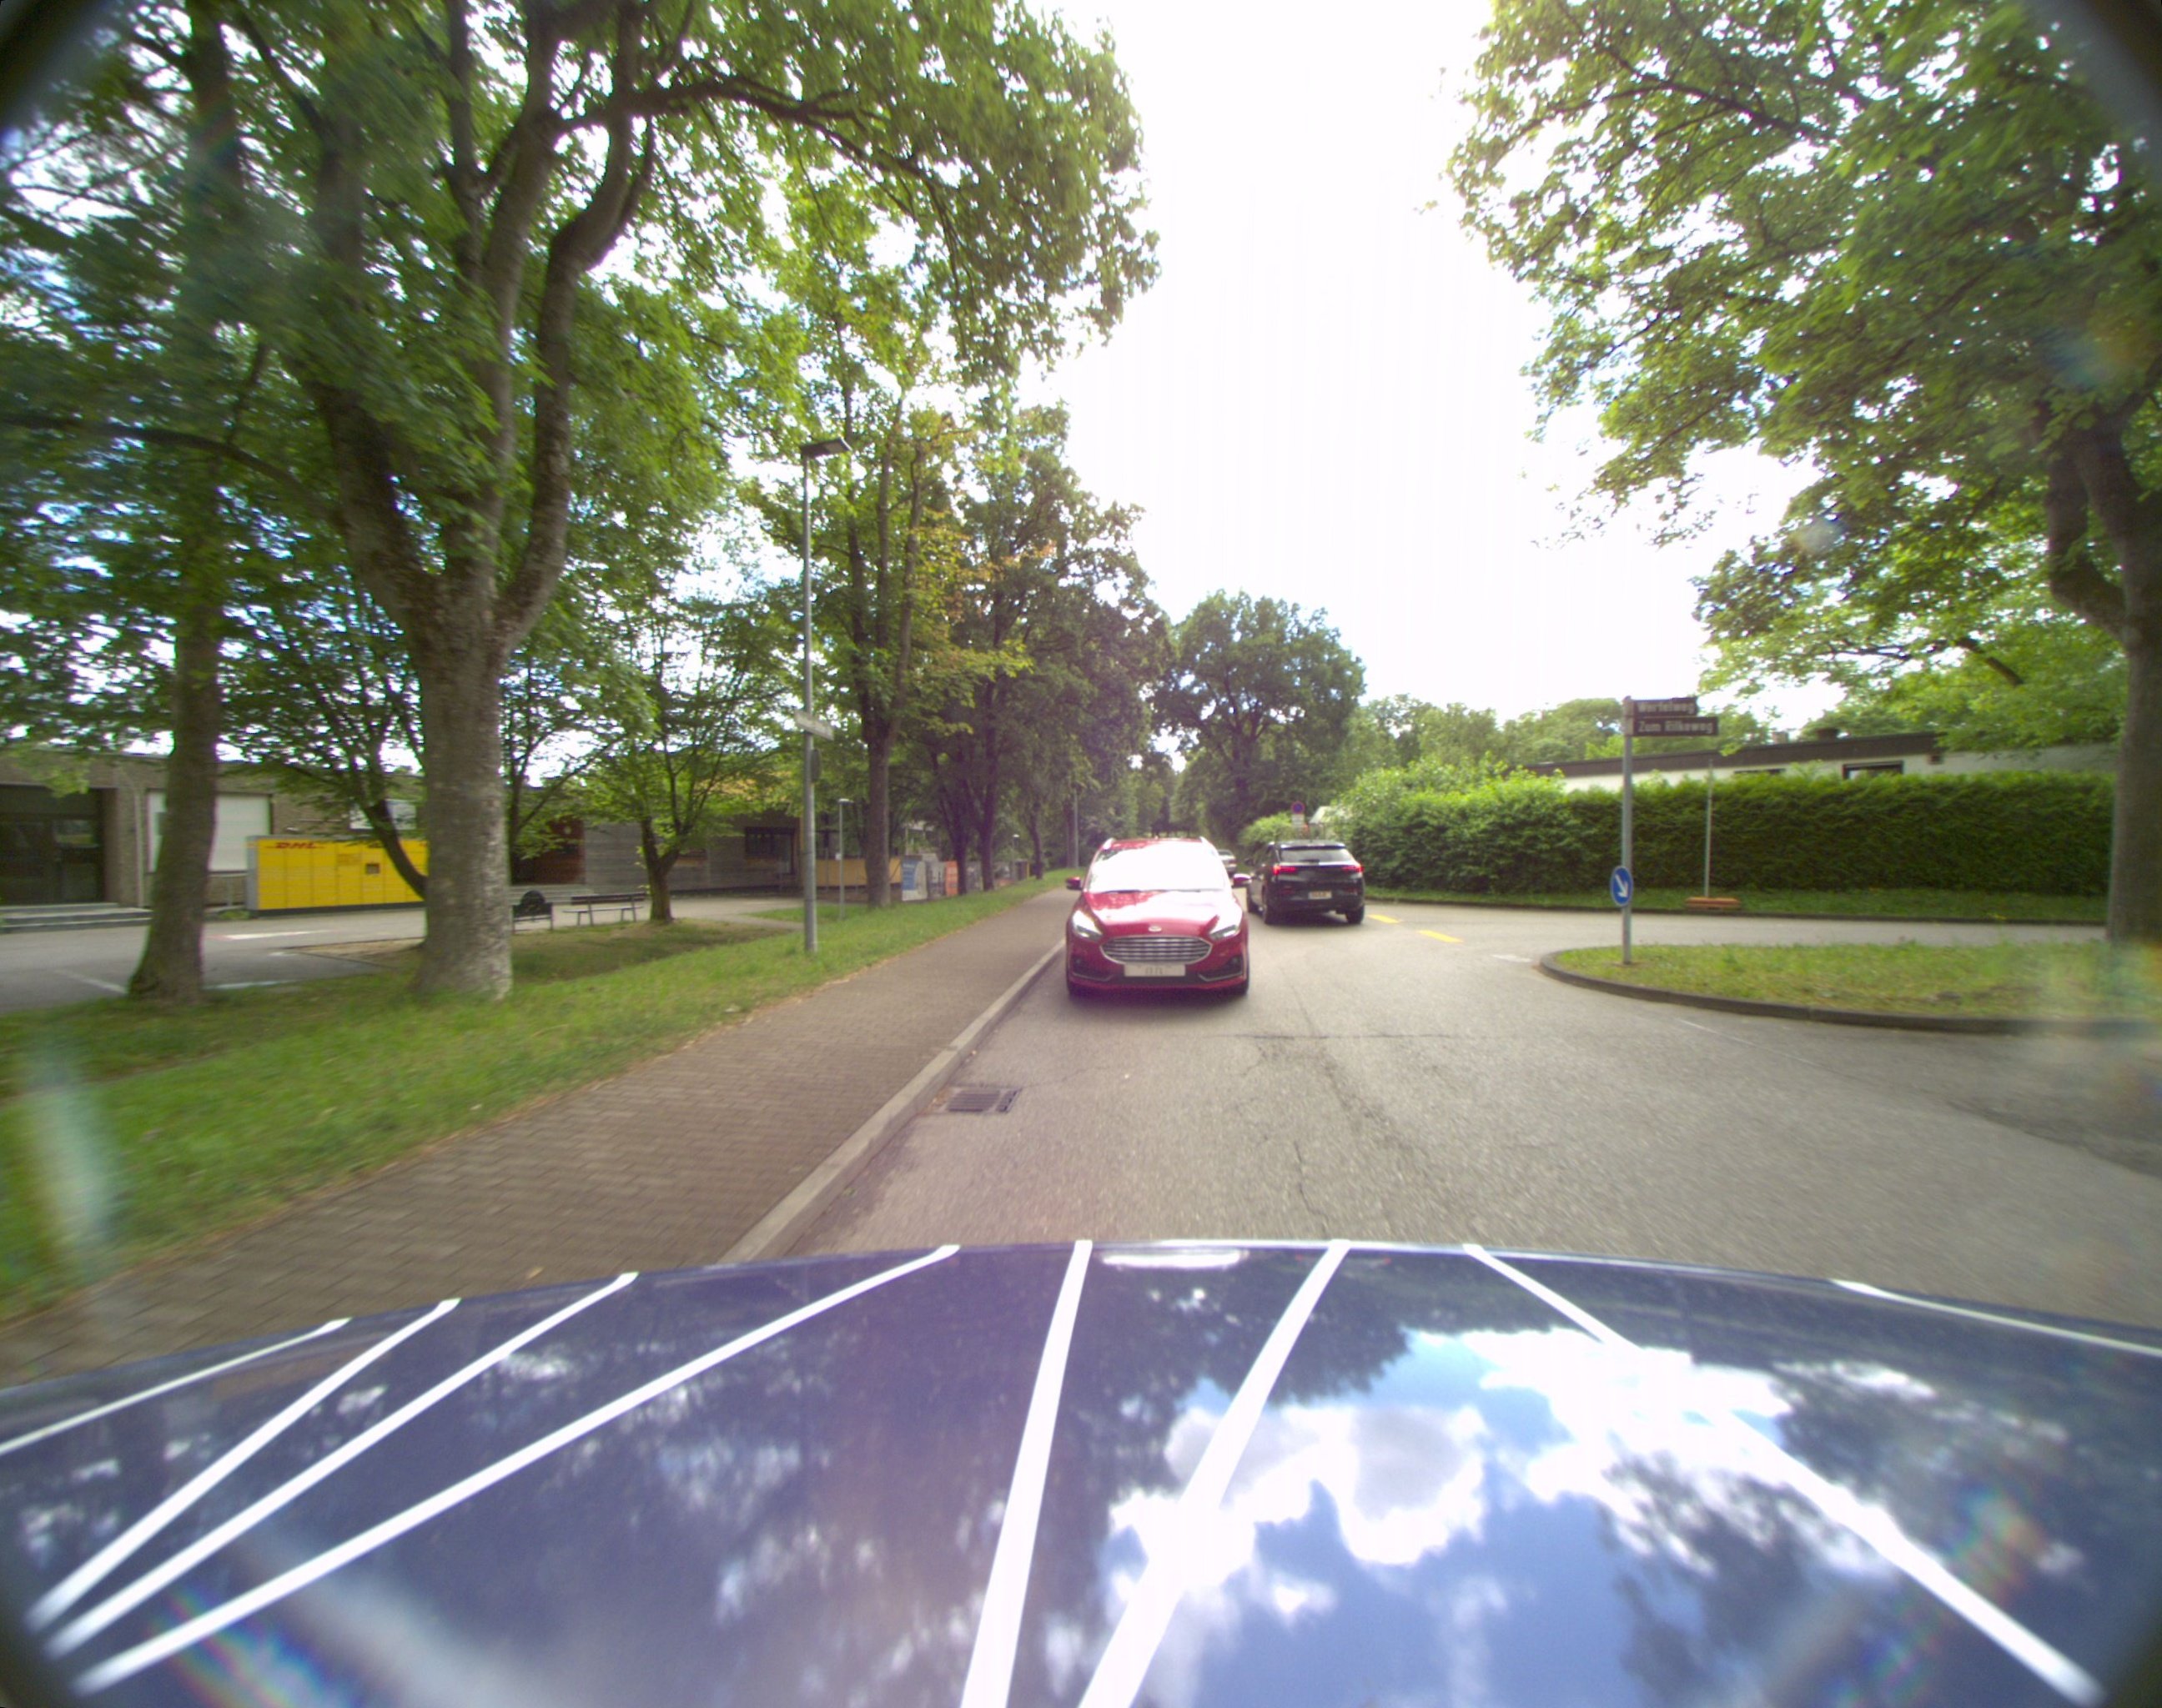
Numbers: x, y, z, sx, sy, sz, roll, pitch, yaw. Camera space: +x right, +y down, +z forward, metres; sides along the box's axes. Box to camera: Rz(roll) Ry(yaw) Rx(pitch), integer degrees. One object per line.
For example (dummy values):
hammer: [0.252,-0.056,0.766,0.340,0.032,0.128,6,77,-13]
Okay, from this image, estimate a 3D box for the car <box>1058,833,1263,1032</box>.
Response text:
car: [1.091,0.646,8.920,1.815,1.718,4.002,2,2,11]

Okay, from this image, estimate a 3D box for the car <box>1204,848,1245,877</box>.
car: [7.035,0.387,37.486,1.784,1.299,4.298,-1,0,8]

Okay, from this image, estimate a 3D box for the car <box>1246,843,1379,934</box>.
car: [4.558,0.599,15.588,1.807,1.582,4.297,-1,0,6]

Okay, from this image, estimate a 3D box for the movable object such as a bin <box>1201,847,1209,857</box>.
movable object such as a bin: [12.761,-0.221,77.967,0.649,1.007,0.633,2,3,22]
